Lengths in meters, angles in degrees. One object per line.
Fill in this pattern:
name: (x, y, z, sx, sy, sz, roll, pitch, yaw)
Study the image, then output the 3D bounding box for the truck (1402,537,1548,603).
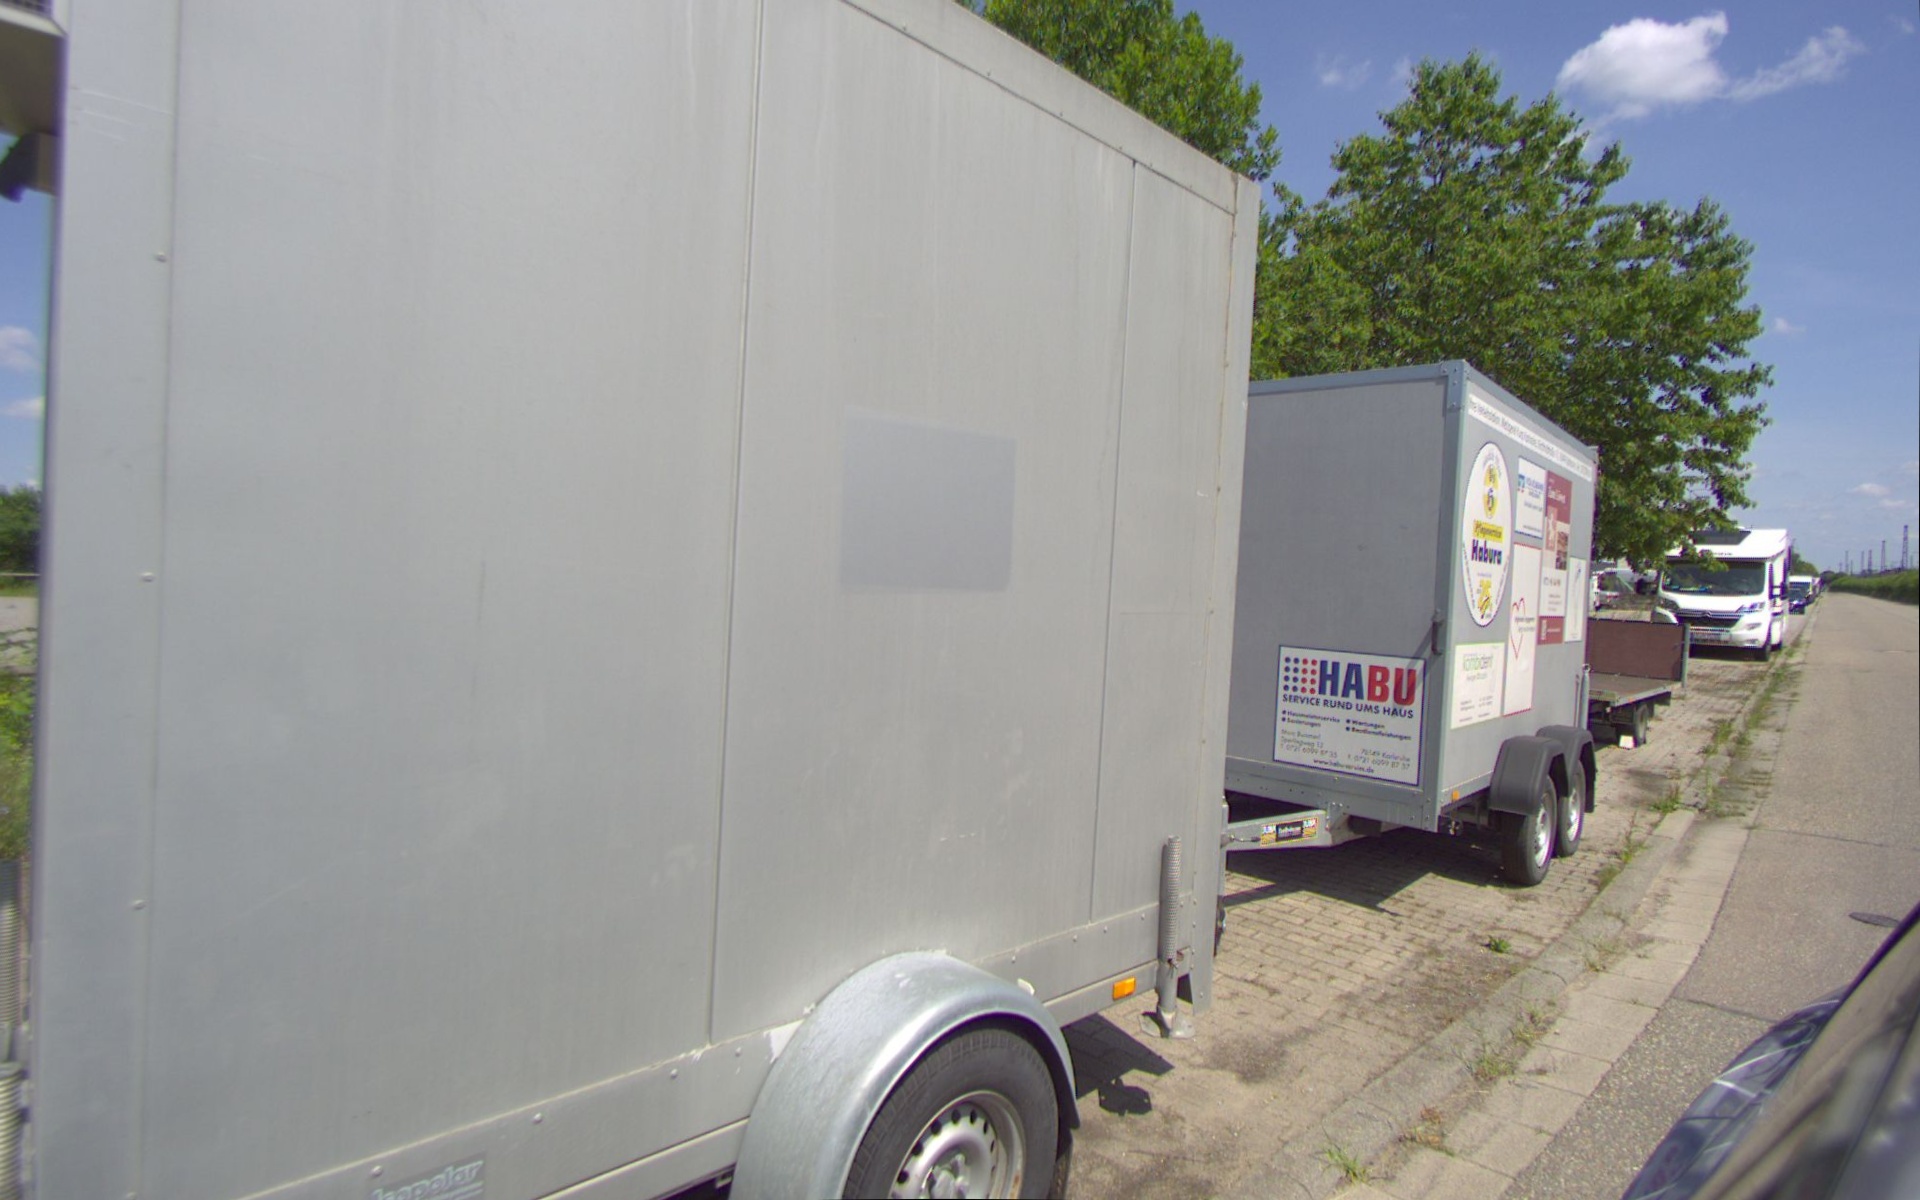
truck: (28.413, -1.653, 56.070, 3.051, 3.430, 6.476, 0, 2, -40)

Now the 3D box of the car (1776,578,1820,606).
car: (47.808, -0.482, 57.711, 1.761, 1.490, 4.648, 3, 3, 41)

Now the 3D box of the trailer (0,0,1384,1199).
trailer: (-1.408, -0.011, 1.785, 5.096, 2.676, 1.936, 0, 4, -43)

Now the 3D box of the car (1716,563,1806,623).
car: (27.211, -0.220, 34.297, 1.848, 1.837, 5.339, 4, 2, 43)

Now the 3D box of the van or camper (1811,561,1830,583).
van or camper: (142.935, -4.644, 168.033, 2.325, 3.561, 4.700, -1, 1, 41)

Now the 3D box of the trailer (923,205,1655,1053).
trailer: (2.144, 0.018, 5.420, 1.918, 2.538, 4.670, 5, 4, 41)

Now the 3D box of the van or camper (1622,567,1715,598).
van or camper: (58.267, -1.469, 83.324, 2.095, 2.468, 5.839, 0, 2, -37)

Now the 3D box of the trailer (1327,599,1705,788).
trailer: (5.423, 0.675, 9.574, 2.006, 1.136, 4.418, 5, 5, 44)

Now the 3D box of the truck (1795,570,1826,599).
truck: (78.560, -1.453, 93.432, 1.993, 2.597, 5.209, 3, 2, 42)

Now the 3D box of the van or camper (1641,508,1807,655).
van or camper: (17.736, -0.464, 23.271, 2.438, 2.861, 7.510, 3, 3, 41)
